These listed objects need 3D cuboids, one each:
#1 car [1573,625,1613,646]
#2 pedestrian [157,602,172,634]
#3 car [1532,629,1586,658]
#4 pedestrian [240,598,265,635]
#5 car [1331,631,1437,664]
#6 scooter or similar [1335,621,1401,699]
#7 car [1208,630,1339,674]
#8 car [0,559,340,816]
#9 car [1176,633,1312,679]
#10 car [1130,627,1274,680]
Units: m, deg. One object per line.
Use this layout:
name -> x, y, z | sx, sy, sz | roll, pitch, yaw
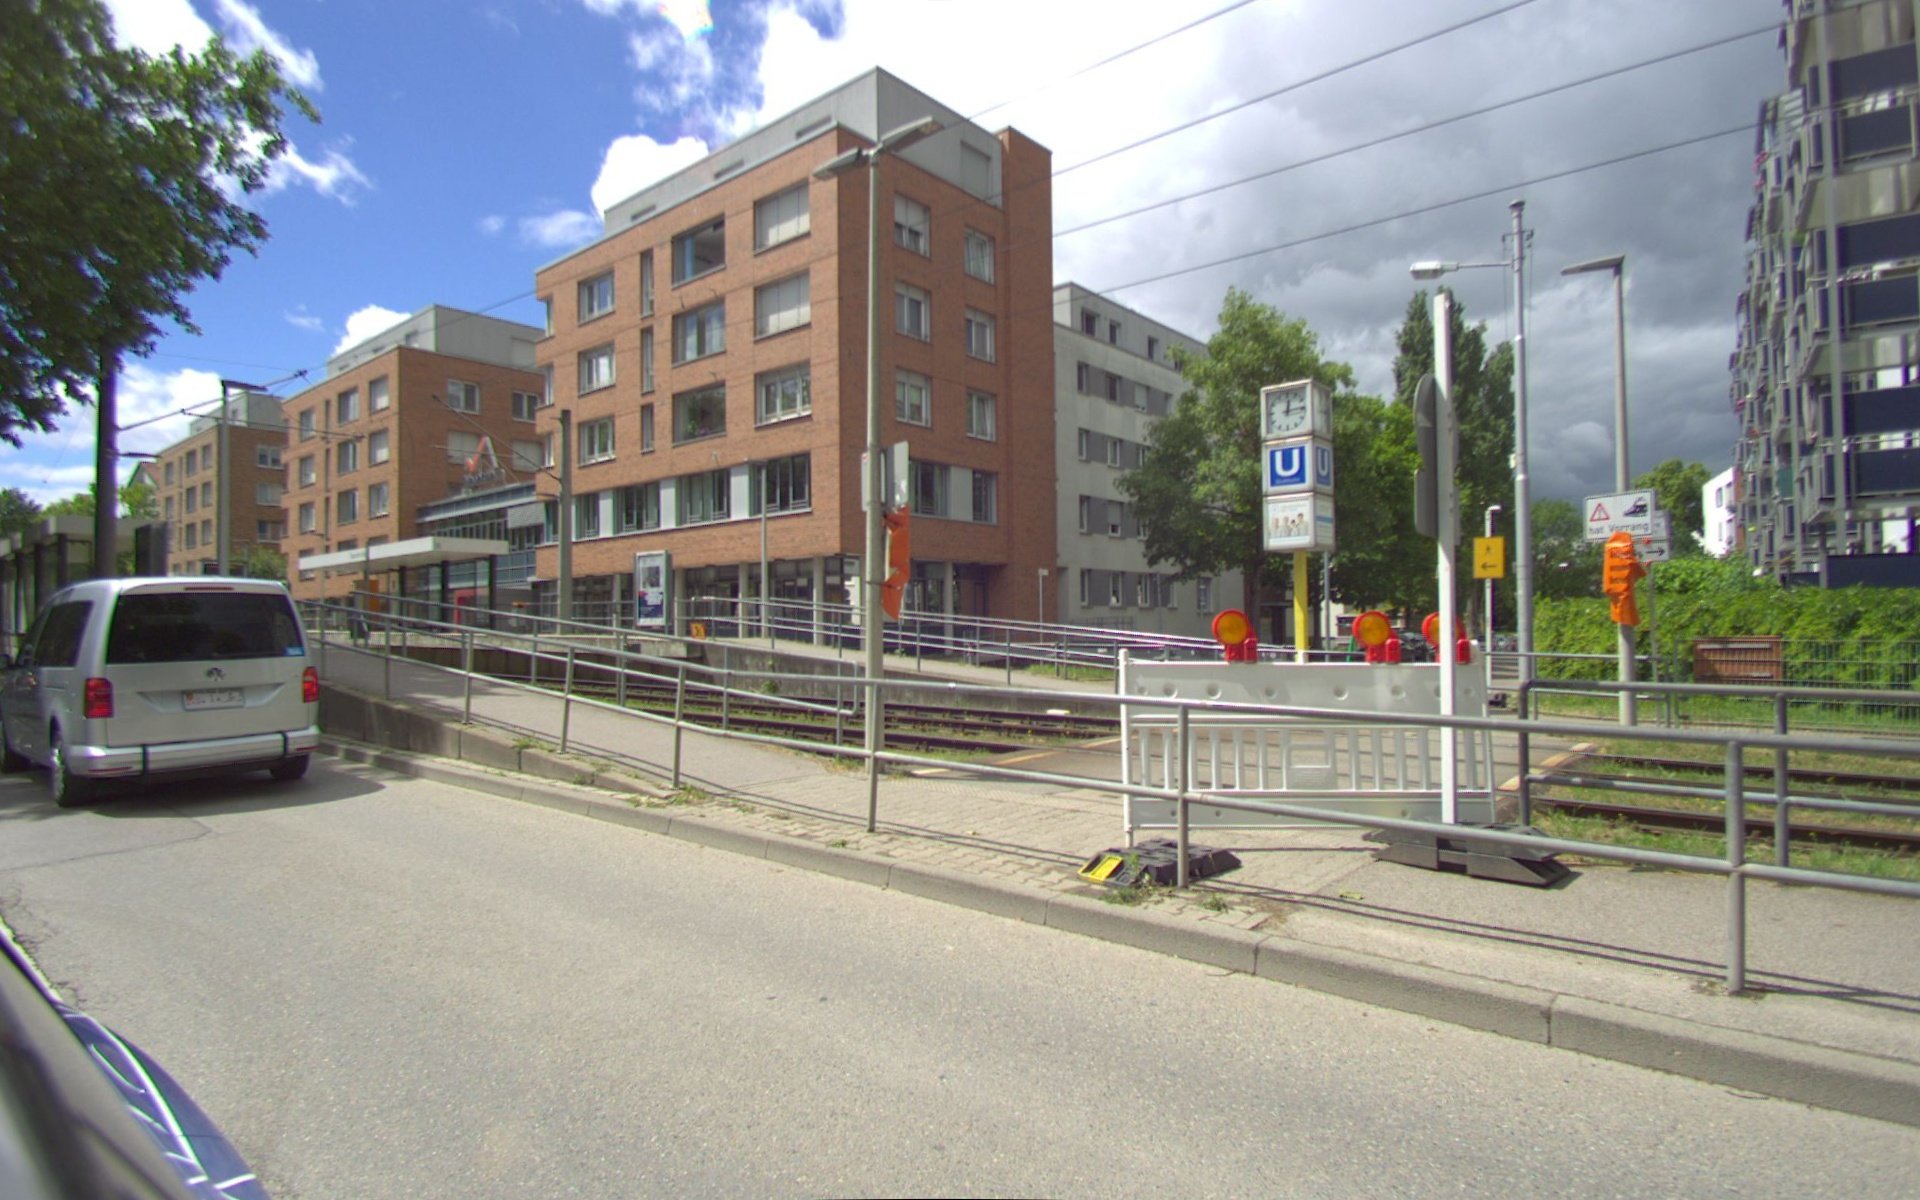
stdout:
car -> 45.231, 2.511, 72.276 | 1.936, 1.497, 3.947 | -2, -2, 40
pedestrian -> -44.518, 1.028, 56.661 | 0.527, 1.777, 0.529 | -1, -2, 37
car -> 32.494, 2.340, 54.860 | 1.936, 1.497, 3.947 | -2, -2, 40
pedestrian -> -31.894, 0.725, 45.648 | 0.815, 1.641, 0.743 | -1, -1, 40
car -> 19.030, 2.104, 45.537 | 4.001, 1.437, 1.823 | -1, -2, 44
scooter or similar -> 6.890, 0.993, 17.072 | 1.281, 1.263, 0.466 | 1, -2, -40
car -> 10.998, 1.798, 35.655 | 4.001, 1.437, 1.823 | -1, -2, 44
car -> -7.667, 0.672, 9.451 | 4.640, 1.854, 1.736 | -2, 0, 39
car -> 9.439, 1.826, 33.774 | 4.001, 1.437, 1.823 | -1, -2, 44
car -> 7.563, 1.621, 31.807 | 4.000, 1.564, 1.874 | -1, -2, 43
